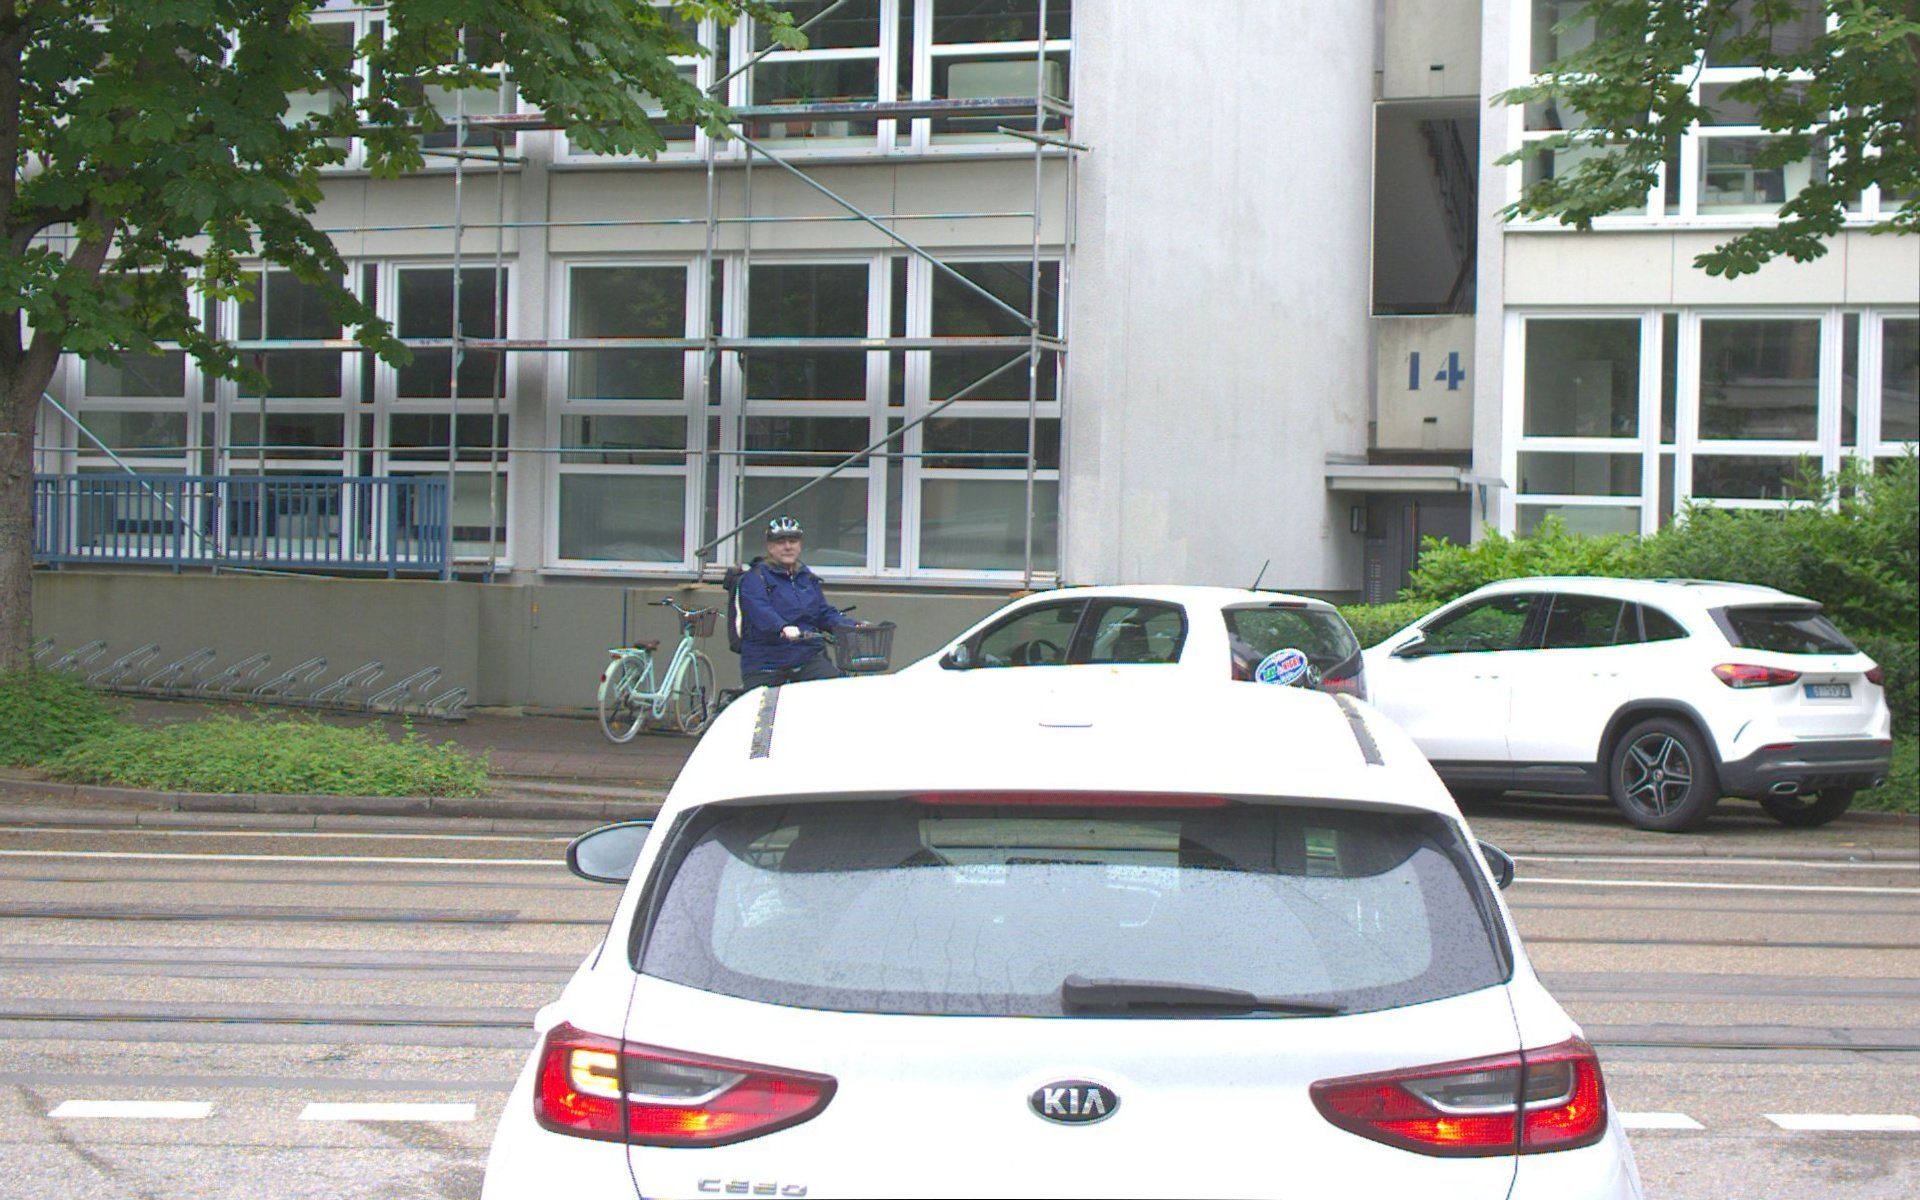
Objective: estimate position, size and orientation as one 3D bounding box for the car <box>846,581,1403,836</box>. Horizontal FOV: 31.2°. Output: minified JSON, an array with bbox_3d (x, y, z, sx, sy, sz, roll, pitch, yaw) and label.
[{"bbox_3d":[0.996,0.639,22.006,1.552,1.468,3.406,1,0,-44],"label":"car"}]

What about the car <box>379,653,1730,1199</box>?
[{"bbox_3d":[0.202,0.847,6.520,1.775,1.428,3.978,1,0,3],"label":"car"}]

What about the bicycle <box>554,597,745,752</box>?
[{"bbox_3d":[-2.525,0.586,28.250,0.645,1.071,2.310,2,4,20],"label":"bicycle"}]

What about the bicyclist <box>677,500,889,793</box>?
[{"bbox_3d":[-1.057,0.266,20.508,0.896,1.692,0.832,2,1,45],"label":"bicyclist"}]

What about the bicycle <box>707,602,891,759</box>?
[{"bbox_3d":[-1.273,0.625,27.759,0.645,1.071,2.310,2,4,20],"label":"bicycle"}]

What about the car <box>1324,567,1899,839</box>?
[{"bbox_3d":[4.197,0.613,22.450,1.552,1.612,3.406,1,0,-44],"label":"car"}]

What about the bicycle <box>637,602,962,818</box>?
[{"bbox_3d":[-0.972,0.625,20.413,1.914,1.170,0.819,2,1,44],"label":"bicycle"}]
